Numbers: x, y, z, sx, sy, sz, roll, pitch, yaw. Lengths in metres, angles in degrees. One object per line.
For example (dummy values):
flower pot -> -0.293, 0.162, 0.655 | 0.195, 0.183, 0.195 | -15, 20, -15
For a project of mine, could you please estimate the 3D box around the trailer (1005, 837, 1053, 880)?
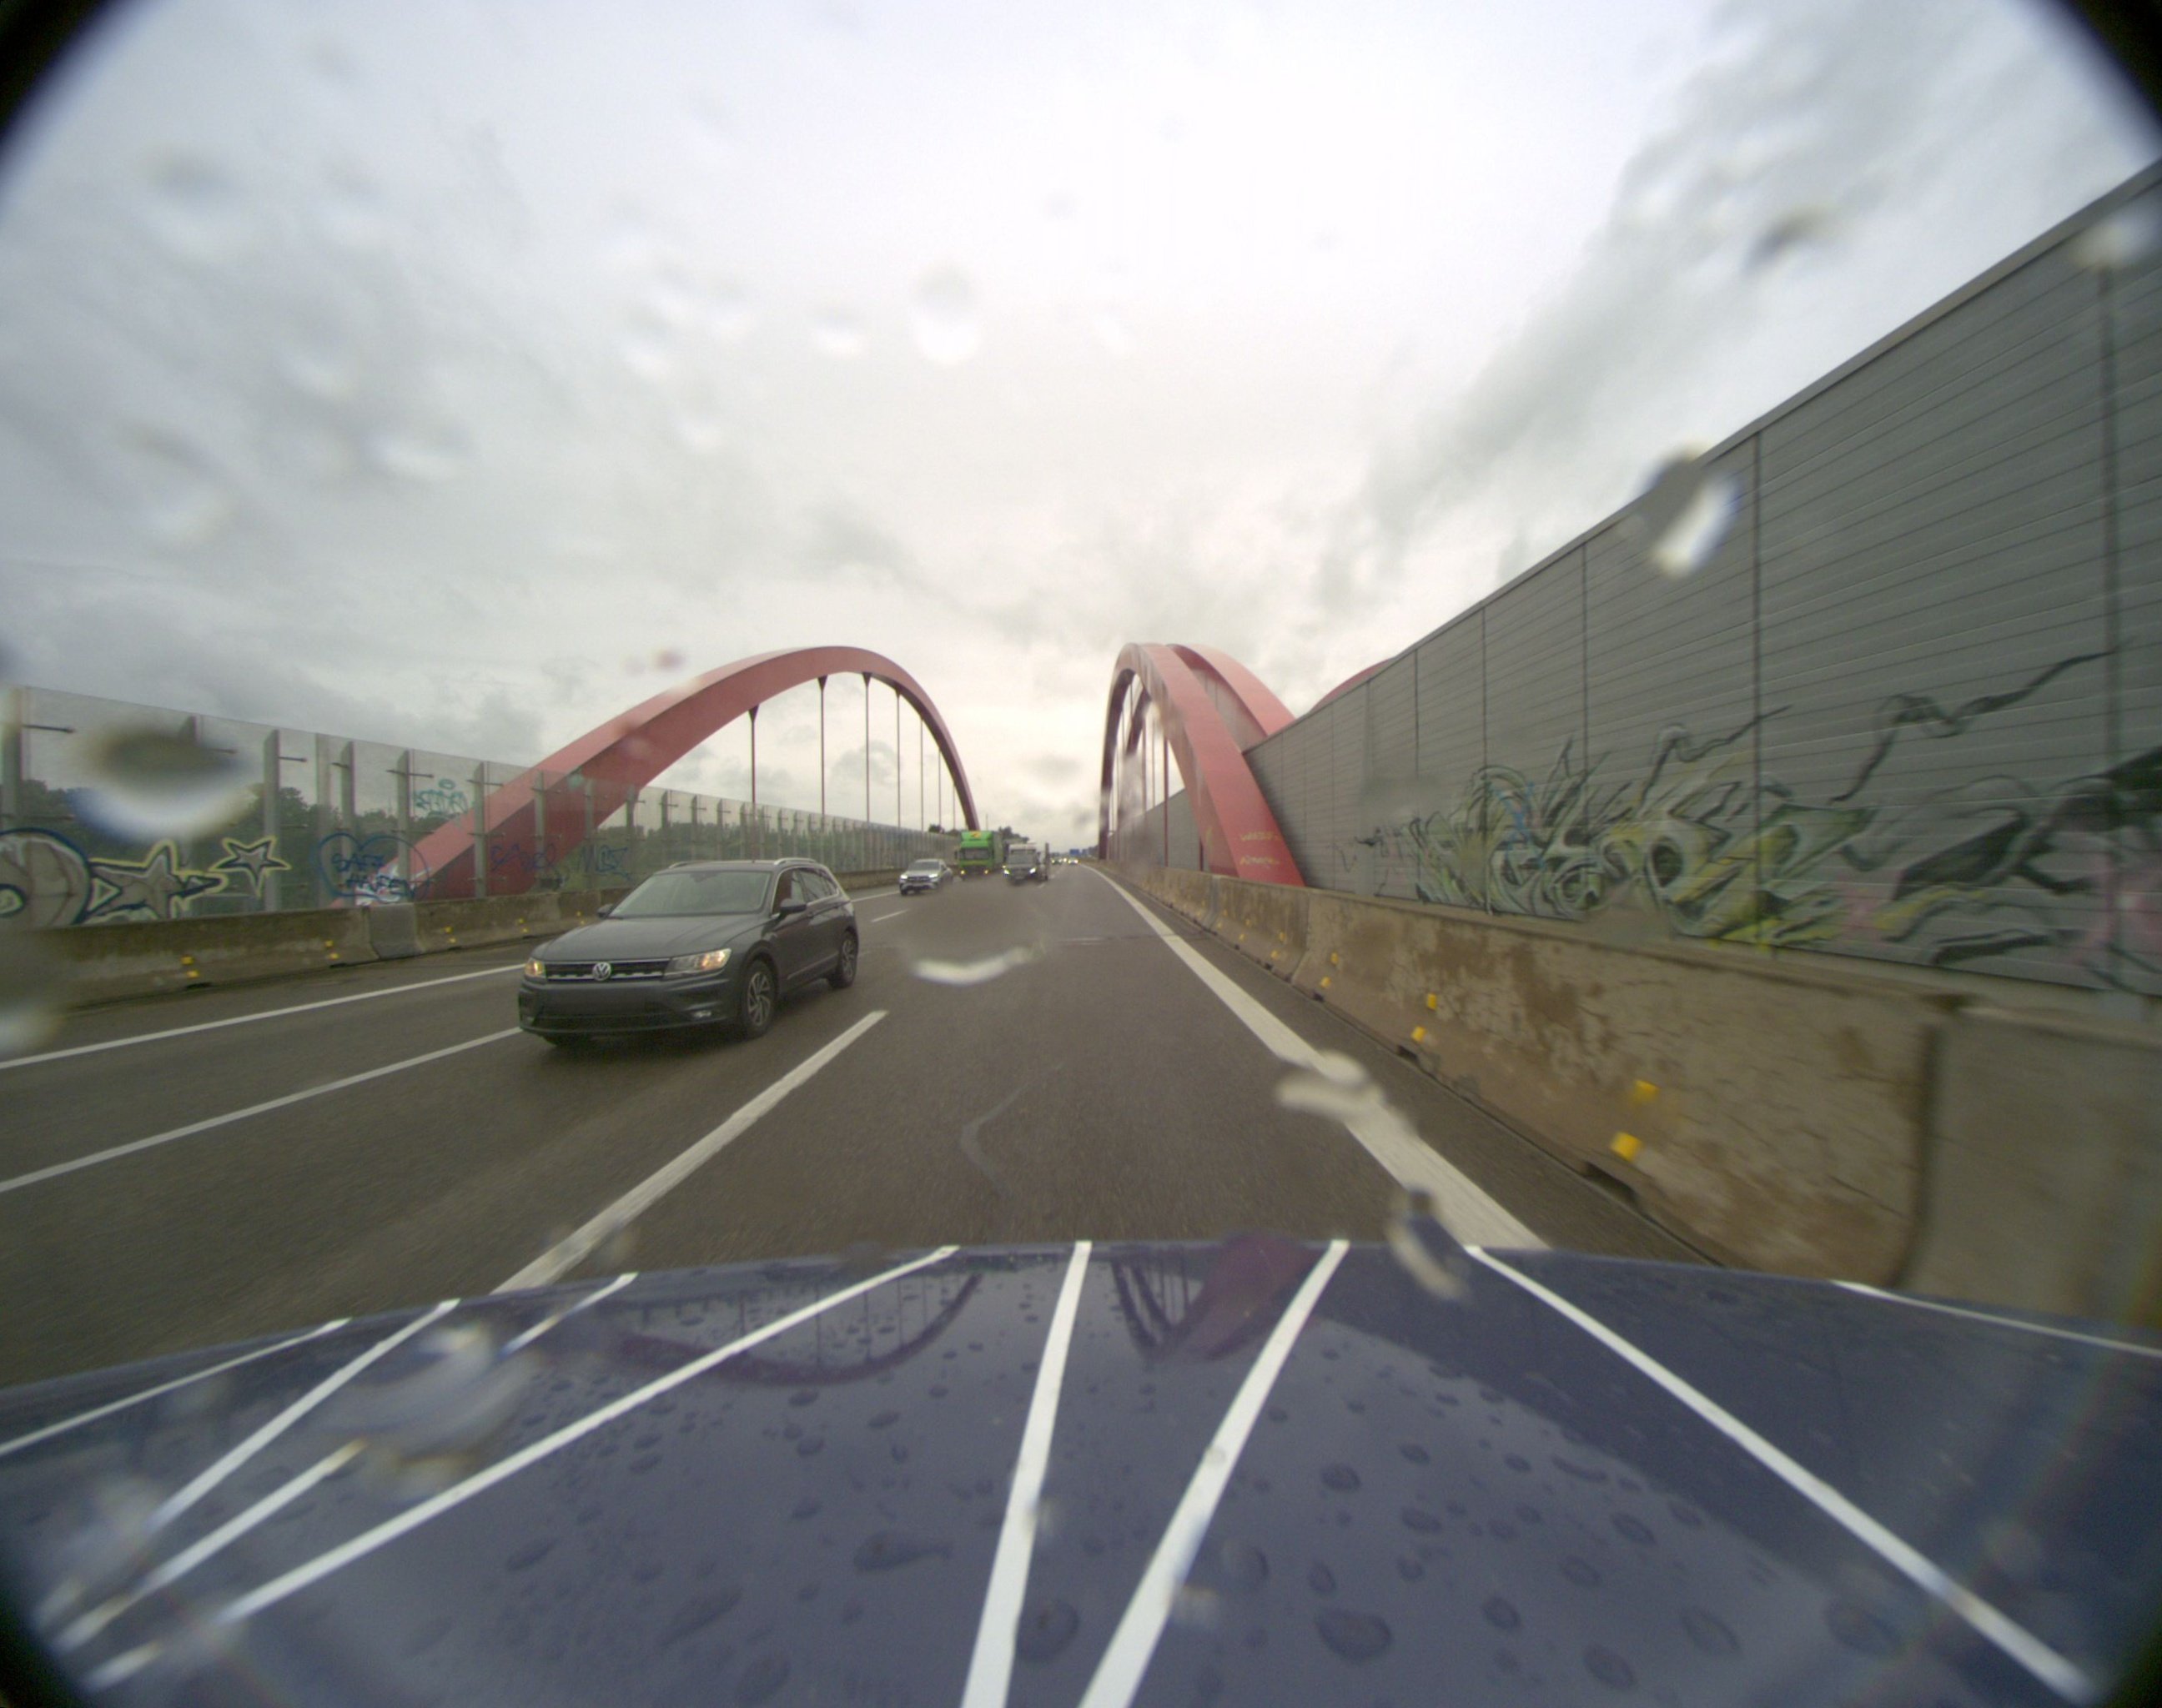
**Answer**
trailer -> -3.343, 0.291, 50.682 | 2.728, 2.626, 7.510 | -1, 0, -1

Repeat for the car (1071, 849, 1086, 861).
car -> -0.541, 0.167, 157.040 | 2.680, 2.340, 5.806 | -1, 0, -4

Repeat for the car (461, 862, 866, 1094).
car -> -3.785, 0.973, 7.901 | 1.917, 1.660, 4.103 | -2, 0, -1

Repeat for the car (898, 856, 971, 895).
car -> -7.031, 0.970, 37.122 | 1.998, 1.610, 5.329 | -3, 0, 6

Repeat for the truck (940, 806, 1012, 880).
truck -> -8.164, -0.840, 61.059 | 4.008, 5.235, 11.218 | -2, 0, 0

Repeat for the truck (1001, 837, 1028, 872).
truck -> -8.051, 0.038, 93.277 | 2.820, 3.927, 12.709 | -1, 0, -3

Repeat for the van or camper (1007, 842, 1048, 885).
van or camper -> -3.031, 0.490, 44.080 | 1.895, 2.256, 5.678 | -2, 0, 0

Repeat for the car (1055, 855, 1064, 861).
car -> -4.669, 0.833, 164.537 | 2.061, 1.020, 3.437 | -3, 0, -2
